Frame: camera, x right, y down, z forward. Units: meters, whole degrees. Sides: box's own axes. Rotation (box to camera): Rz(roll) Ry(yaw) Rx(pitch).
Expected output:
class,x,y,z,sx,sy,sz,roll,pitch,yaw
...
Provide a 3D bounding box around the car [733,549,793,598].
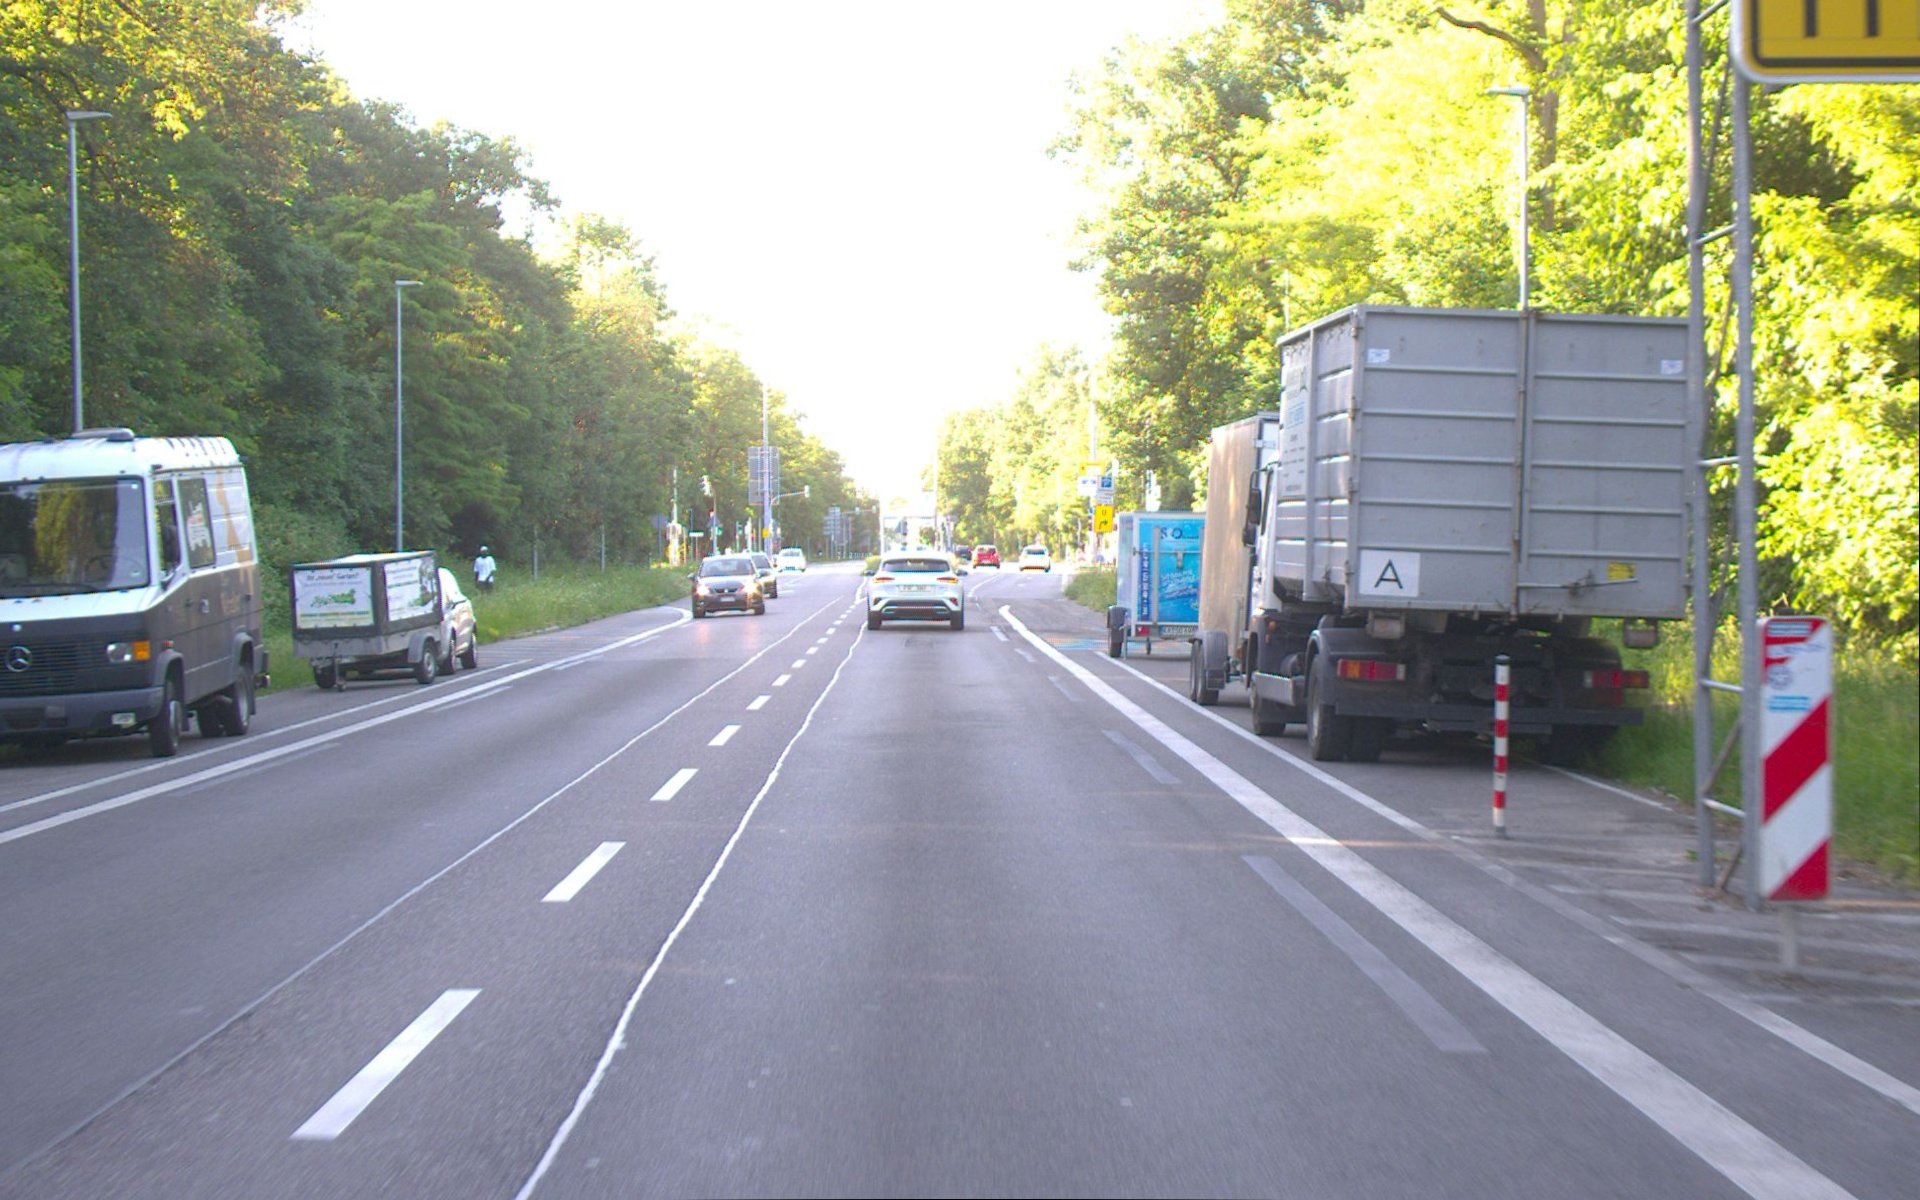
class,x,y,z,sx,sy,sz,roll,pitch,yaw
car,-6.318,-0.875,110.706,1.678,1.485,4.690,-1,1,0

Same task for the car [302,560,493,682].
class,x,y,z,sx,sy,sz,roll,pitch,yaw
car,-7.689,0.248,47.329,1.867,1.458,4.133,-4,1,0

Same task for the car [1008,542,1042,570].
class,x,y,z,sx,sy,sz,roll,pitch,yaw
car,3.872,-2.635,205.438,1.993,1.612,4.000,1,1,0

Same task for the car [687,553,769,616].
class,x,y,z,sx,sy,sz,roll,pitch,yaw
car,-5.507,-0.385,81.887,1.678,1.411,4.000,-1,1,0

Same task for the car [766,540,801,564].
class,x,y,z,sx,sy,sz,roll,pitch,yaw
car,-11.065,-3.009,215.716,1.993,1.459,4.000,0,1,-1

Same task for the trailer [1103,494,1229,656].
class,x,y,z,sx,sy,sz,roll,pitch,yaw
trailer,2.956,-0.380,50.014,1.500,2.228,4.550,1,1,0

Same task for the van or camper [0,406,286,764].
class,x,y,z,sx,sy,sz,roll,pitch,yaw
van or camper,-7.585,-0.141,29.827,2.302,2.758,5.557,-3,1,-1

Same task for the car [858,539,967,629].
class,x,y,z,sx,sy,sz,roll,pitch,yaw
car,-0.902,-0.341,65.739,1.993,1.634,4.000,-1,1,-1

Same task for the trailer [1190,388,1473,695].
class,x,y,z,sx,sy,sz,roll,pitch,yaw
trailer,3.639,-0.585,34.681,2.272,2.835,5.207,1,1,0

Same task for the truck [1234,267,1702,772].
class,x,y,z,sx,sy,sz,roll,pitch,yaw
truck,3.678,-0.580,26.532,2.505,3.355,7.107,0,1,0

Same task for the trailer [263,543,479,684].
class,x,y,z,sx,sy,sz,roll,pitch,yaw
trailer,-7.350,0.140,43.166,1.471,1.654,3.364,-2,0,12

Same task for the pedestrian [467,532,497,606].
class,x,y,z,sx,sy,sz,roll,pitch,yaw
pedestrian,-13.095,-0.863,94.110,0.693,2.007,0.712,1,1,0
